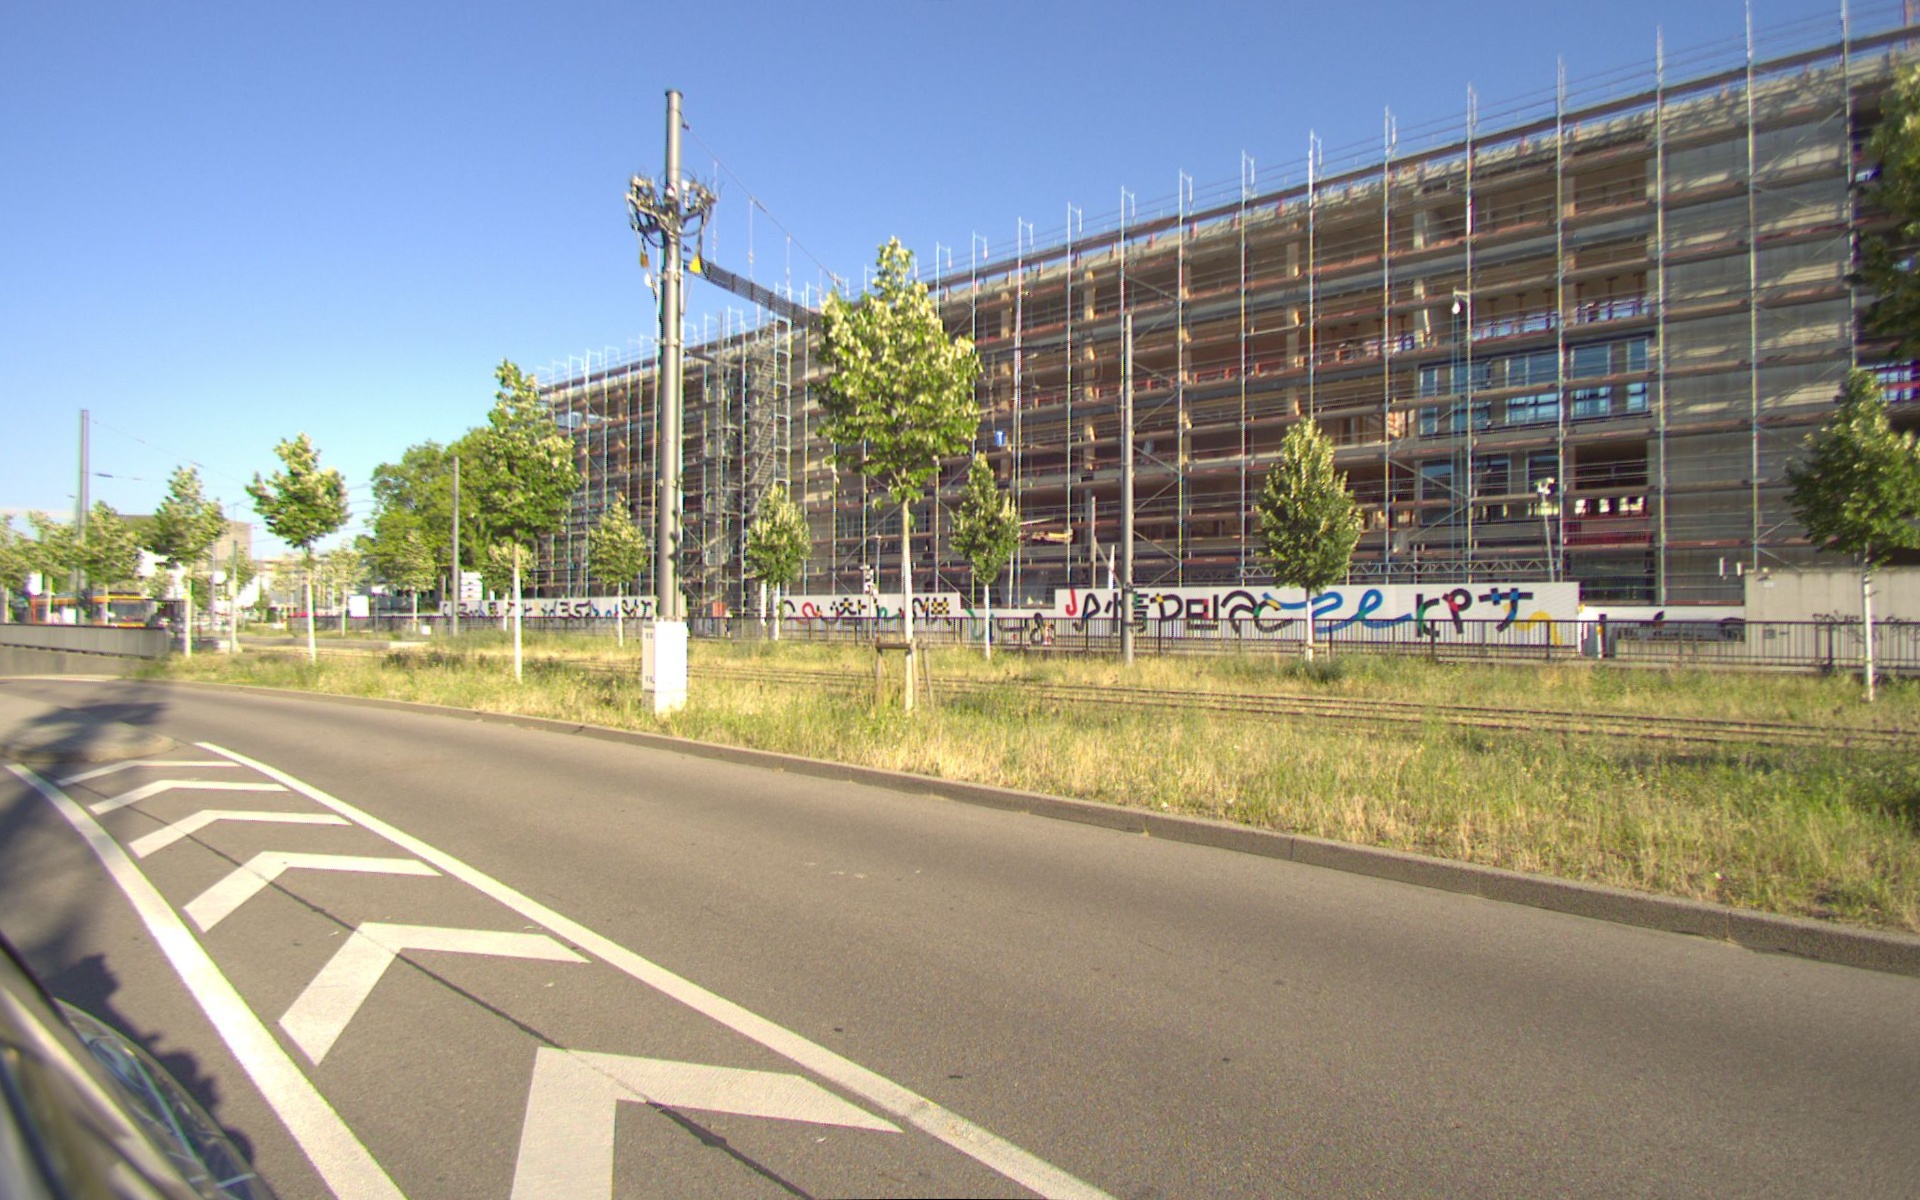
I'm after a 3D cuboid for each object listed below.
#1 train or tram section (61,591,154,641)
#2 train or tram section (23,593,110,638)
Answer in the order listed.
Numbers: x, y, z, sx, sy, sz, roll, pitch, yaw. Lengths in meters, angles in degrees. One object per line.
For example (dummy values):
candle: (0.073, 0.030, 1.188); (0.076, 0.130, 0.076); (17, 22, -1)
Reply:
train or tram section: (-62.757, 1.125, 74.348); (12.619, 3.423, 2.917); (-1, 0, 39)
train or tram section: (-73.412, 1.260, 82.945); (14.749, 3.423, 2.917); (-1, 0, 39)
